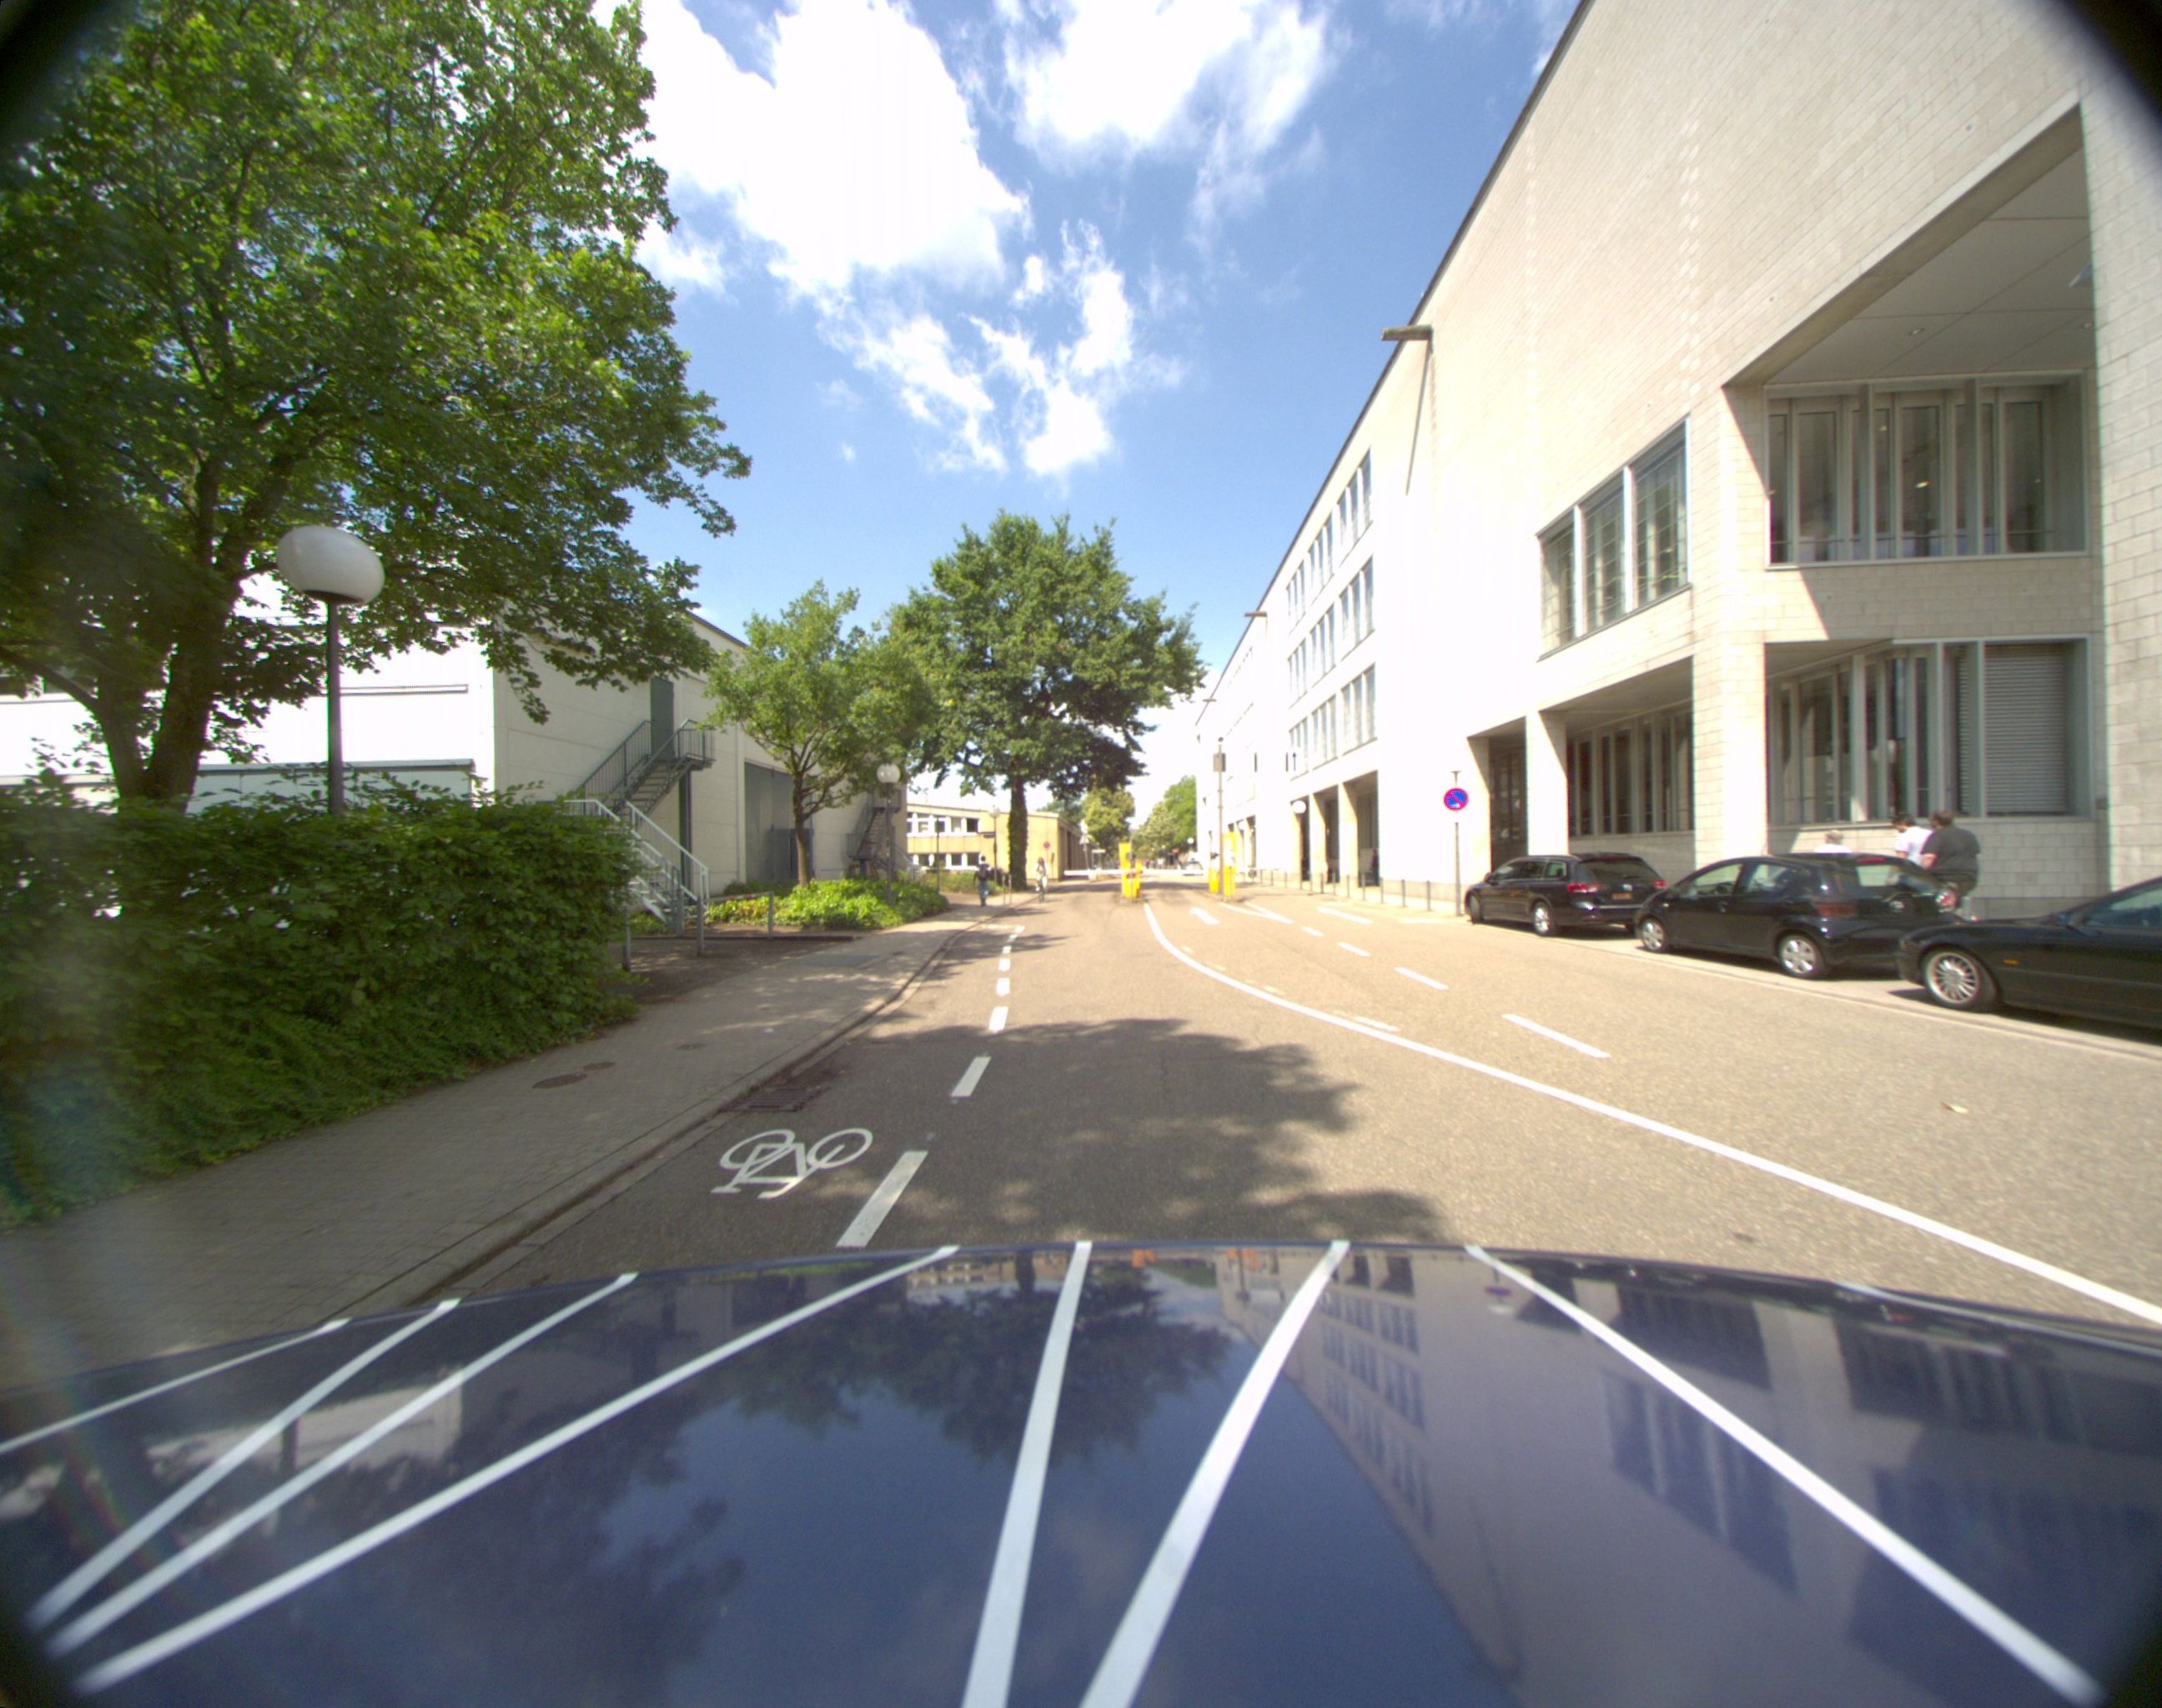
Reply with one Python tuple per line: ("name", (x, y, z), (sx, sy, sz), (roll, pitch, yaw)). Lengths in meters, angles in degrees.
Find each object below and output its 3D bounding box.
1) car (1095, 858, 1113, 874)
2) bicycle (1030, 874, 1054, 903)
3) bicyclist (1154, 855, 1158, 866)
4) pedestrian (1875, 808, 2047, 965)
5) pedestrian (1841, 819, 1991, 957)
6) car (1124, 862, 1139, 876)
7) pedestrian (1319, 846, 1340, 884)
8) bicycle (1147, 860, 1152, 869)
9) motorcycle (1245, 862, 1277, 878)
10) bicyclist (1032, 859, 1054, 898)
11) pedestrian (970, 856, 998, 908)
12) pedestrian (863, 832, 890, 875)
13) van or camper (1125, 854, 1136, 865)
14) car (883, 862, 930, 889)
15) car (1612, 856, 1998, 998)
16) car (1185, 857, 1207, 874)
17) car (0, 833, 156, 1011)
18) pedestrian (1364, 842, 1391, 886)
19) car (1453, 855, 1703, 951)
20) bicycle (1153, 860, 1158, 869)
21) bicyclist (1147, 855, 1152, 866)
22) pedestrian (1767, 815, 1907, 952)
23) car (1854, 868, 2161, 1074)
("car", (2.357, 1.169, 76.884), (1.760, 1.559, 3.818), (0, 0, 3))
("bicycle", (-1.481, 1.290, 28.991), (0.781, 1.042, 1.913), (-1, 0, 1))
("bicyclist", (12.337, 1.032, 125.571), (0.609, 1.754, 0.697), (-2, 0, 2))
("pedestrian", (11.947, 0.422, 10.367), (0.986, 2.002, 1.165), (-1, 0, -1))
("pedestrian", (12.732, 0.497, 11.635), (0.986, 2.002, 1.165), (-1, 0, -1))
("car", (7.162, 2.104, 107.770), (1.998, 1.805, 4.001), (-1, 0, 4))
("pedestrian", (13.576, 0.588, 41.571), (0.858, 2.002, 0.881), (-2, 0, 5))
("bicycle", (11.281, 1.734, 125.140), (0.797, 1.485, 2.062), (-2, 0, 2))
("motorcycle", (13.419, 1.177, 56.730), (2.172, 1.131, 0.774), (-1, 0, -7))
("bicyclist", (-1.432, 0.921, 28.948), (0.780, 1.478, 0.696), (-1, 0, 1))
("pedestrian", (-3.186, 0.907, 25.106), (0.741, 1.665, 1.256), (-1, 0, 0))
("pedestrian", (-9.787, -0.015, 36.420), (0.929, 2.002, 0.950), (0, 0, 7))
("van or camper", (10.872, 1.147, 166.644), (1.997, 2.347, 4.386), (-1, 0, 9))
("car", (-10.495, 1.262, 45.981), (1.671, 1.468, 4.183), (-1, 0, 3))
("car", (9.132, 0.800, 10.084), (1.642, 1.458, 3.708), (-3, 0, 3))
("car", (11.345, 1.093, 75.199), (1.730, 1.526, 4.406), (-3, 0, 3))
("car", (-14.534, 0.792, 9.010), (4.836, 2.002, 2.062), (-1, 0, 4))
("pedestrian", (13.744, 0.437, 35.270), (0.850, 2.002, 1.066), (-1, 0, 1))
("car", (9.174, 0.803, 14.630), (1.864, 1.458, 4.720), (-3, 0, 3))
("bicycle", (12.351, 1.710, 125.633), (0.639, 1.485, 1.936), (-2, 0, 2))
("bicyclist", (11.260, 1.064, 124.971), (0.761, 1.766, 0.733), (-2, 0, 1))
("pedestrian", (11.608, 0.433, 11.724), (0.986, 2.002, 1.165), (-1, 0, -1))
("car", (8.795, 0.875, 5.332), (1.863, 1.370, 5.018), (-3, 0, 5))
